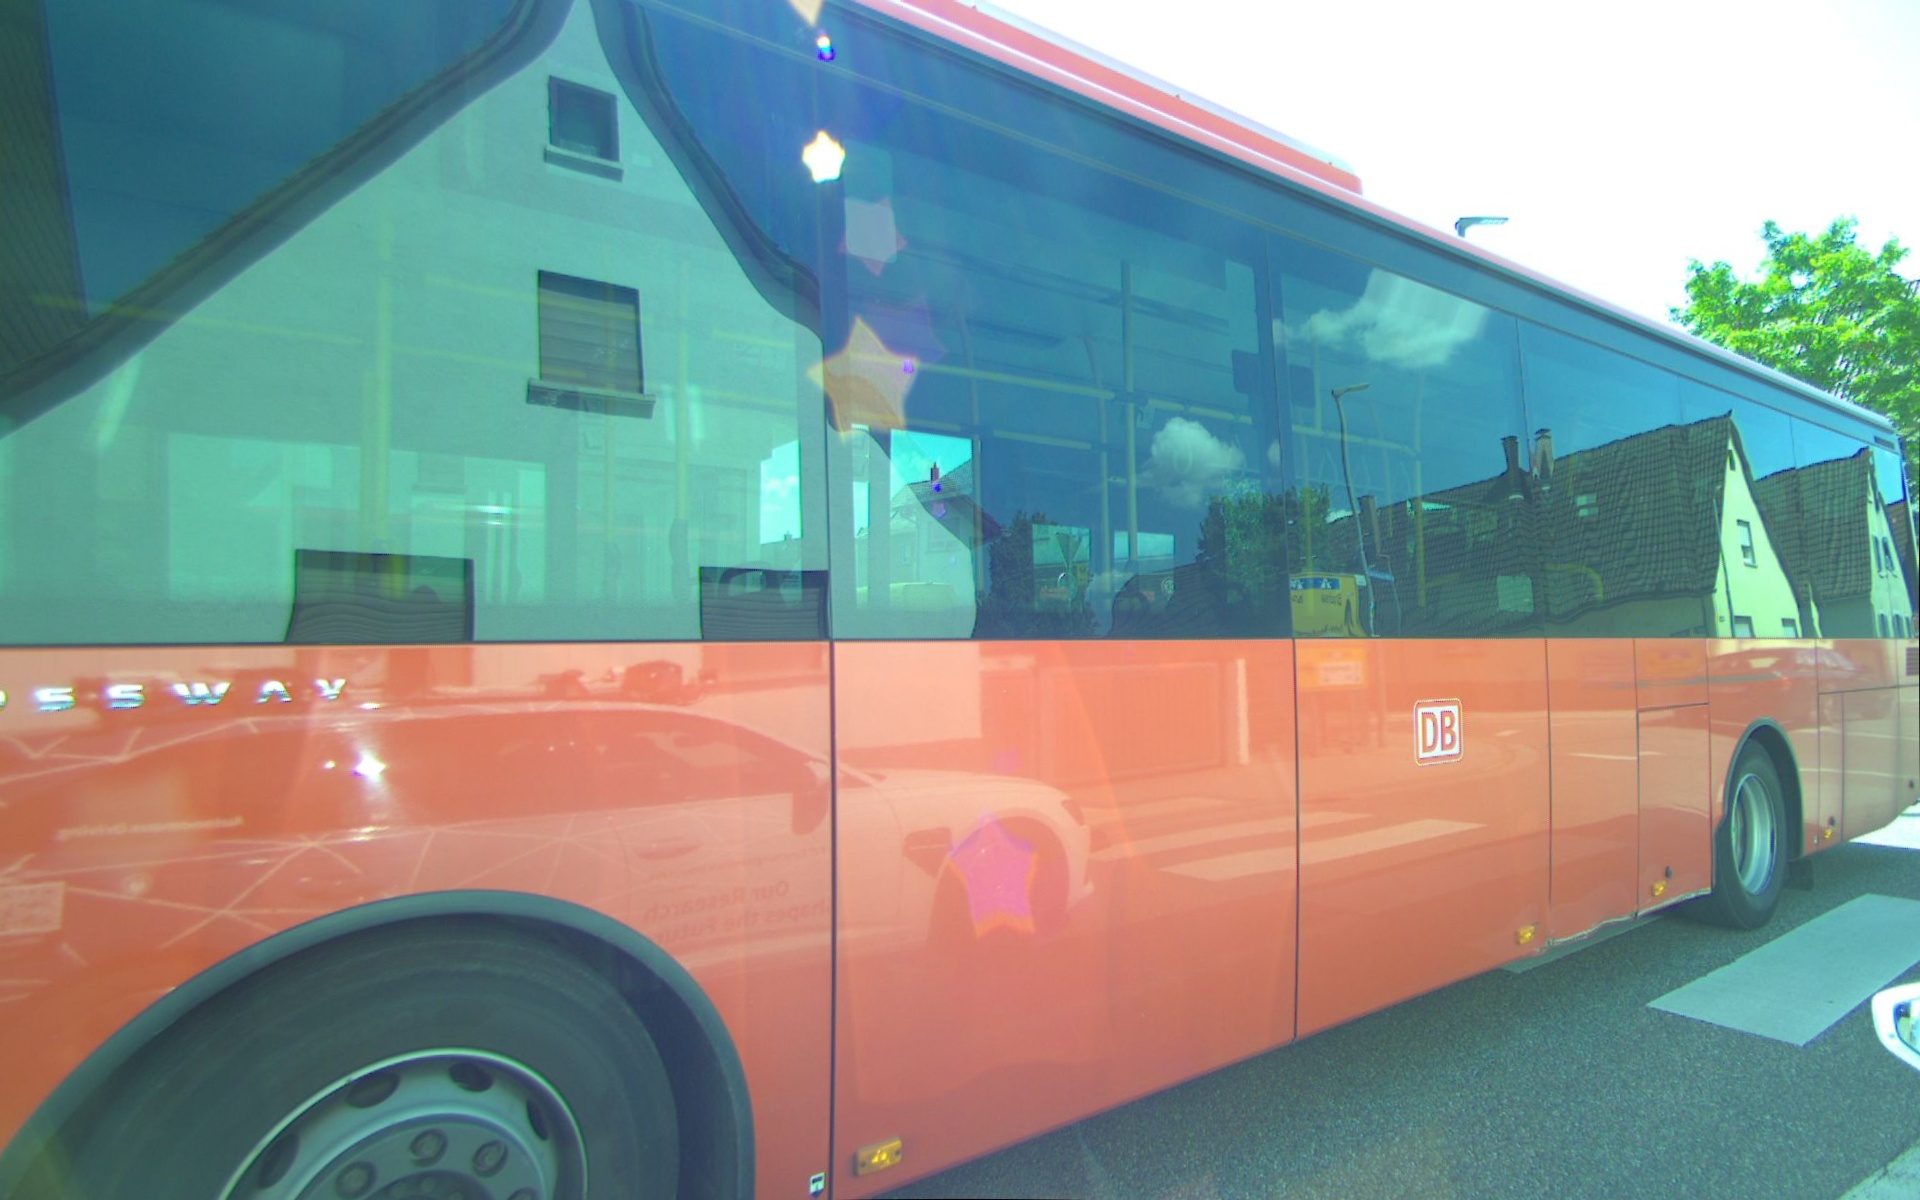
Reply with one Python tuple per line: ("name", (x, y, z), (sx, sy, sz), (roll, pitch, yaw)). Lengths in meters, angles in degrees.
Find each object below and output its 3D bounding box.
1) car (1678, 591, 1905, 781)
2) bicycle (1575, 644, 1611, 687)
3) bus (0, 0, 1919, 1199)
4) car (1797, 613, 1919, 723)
("car", (9.997, 0.936, 12.070), (1.752, 1.845, 4.419), (-3, -3, 41))
("bicycle", (16.453, 1.681, 26.103), (0.396, 1.017, 1.970), (-1, 0, 44))
("bus", (1.307, -0.002, 4.693), (11.903, 3.274, 2.610), (1, -4, -35))
("car", (16.701, 1.095, 16.269), (4.455, 1.732, 1.871), (0, -2, 23))
